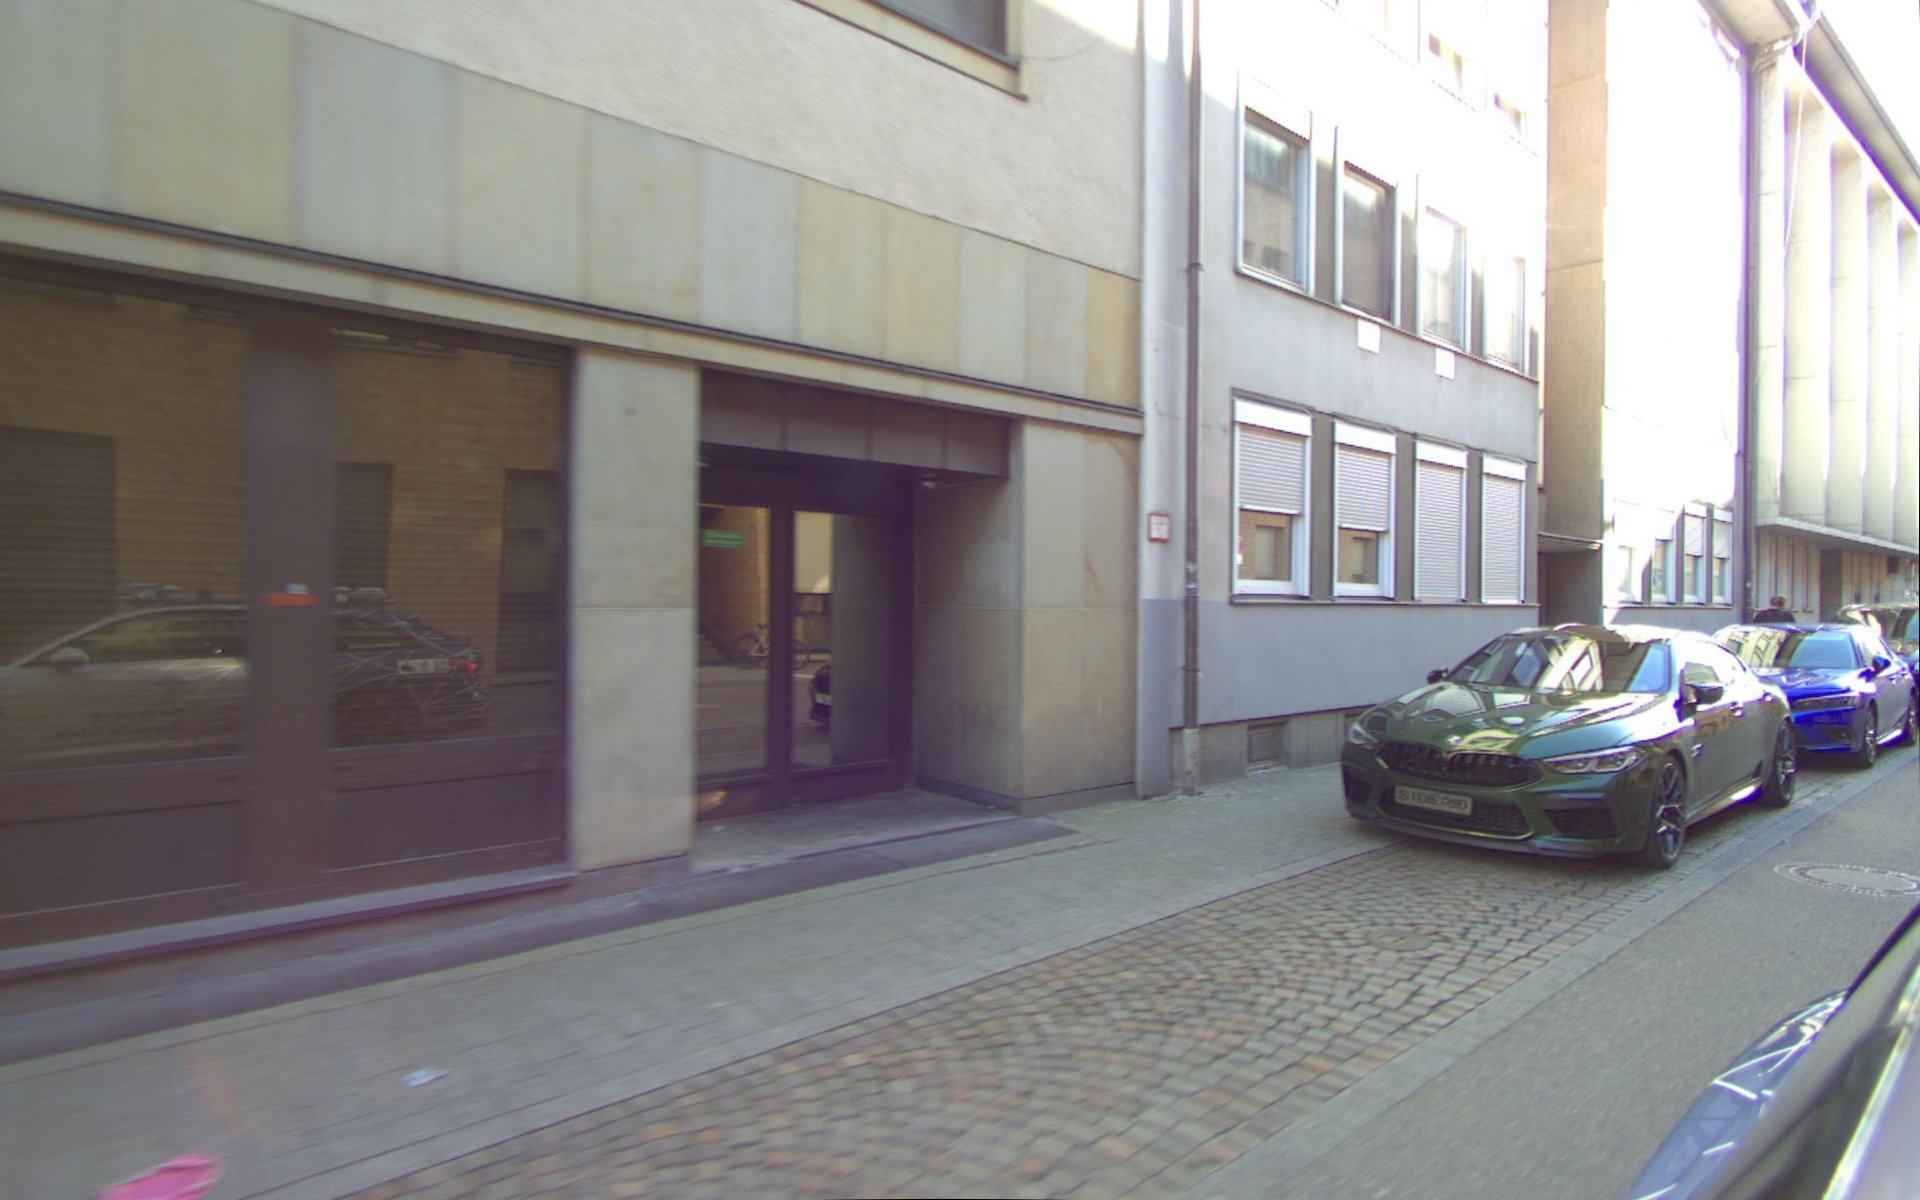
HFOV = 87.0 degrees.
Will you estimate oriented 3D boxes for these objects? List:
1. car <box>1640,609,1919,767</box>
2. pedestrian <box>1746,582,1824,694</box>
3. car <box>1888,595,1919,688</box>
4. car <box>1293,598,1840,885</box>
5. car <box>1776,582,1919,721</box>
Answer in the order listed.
[{"bbox_3d":[9.485,0.830,11.377,4.705,1.431,1.810,0,-2,-40],"label":"car"},{"bbox_3d":[13.513,0.604,16.590,0.733,1.742,0.791,1,2,-39],"label":"pedestrian"},{"bbox_3d":[19.910,0.758,19.664,4.755,1.724,1.998,0,-2,-39],"label":"car"},{"bbox_3d":[4.778,0.751,7.581,5.132,1.472,1.898,0,-1,-40],"label":"car"},{"bbox_3d":[14.251,0.692,15.140,4.959,1.809,2.108,0,-1,-38],"label":"car"}]
